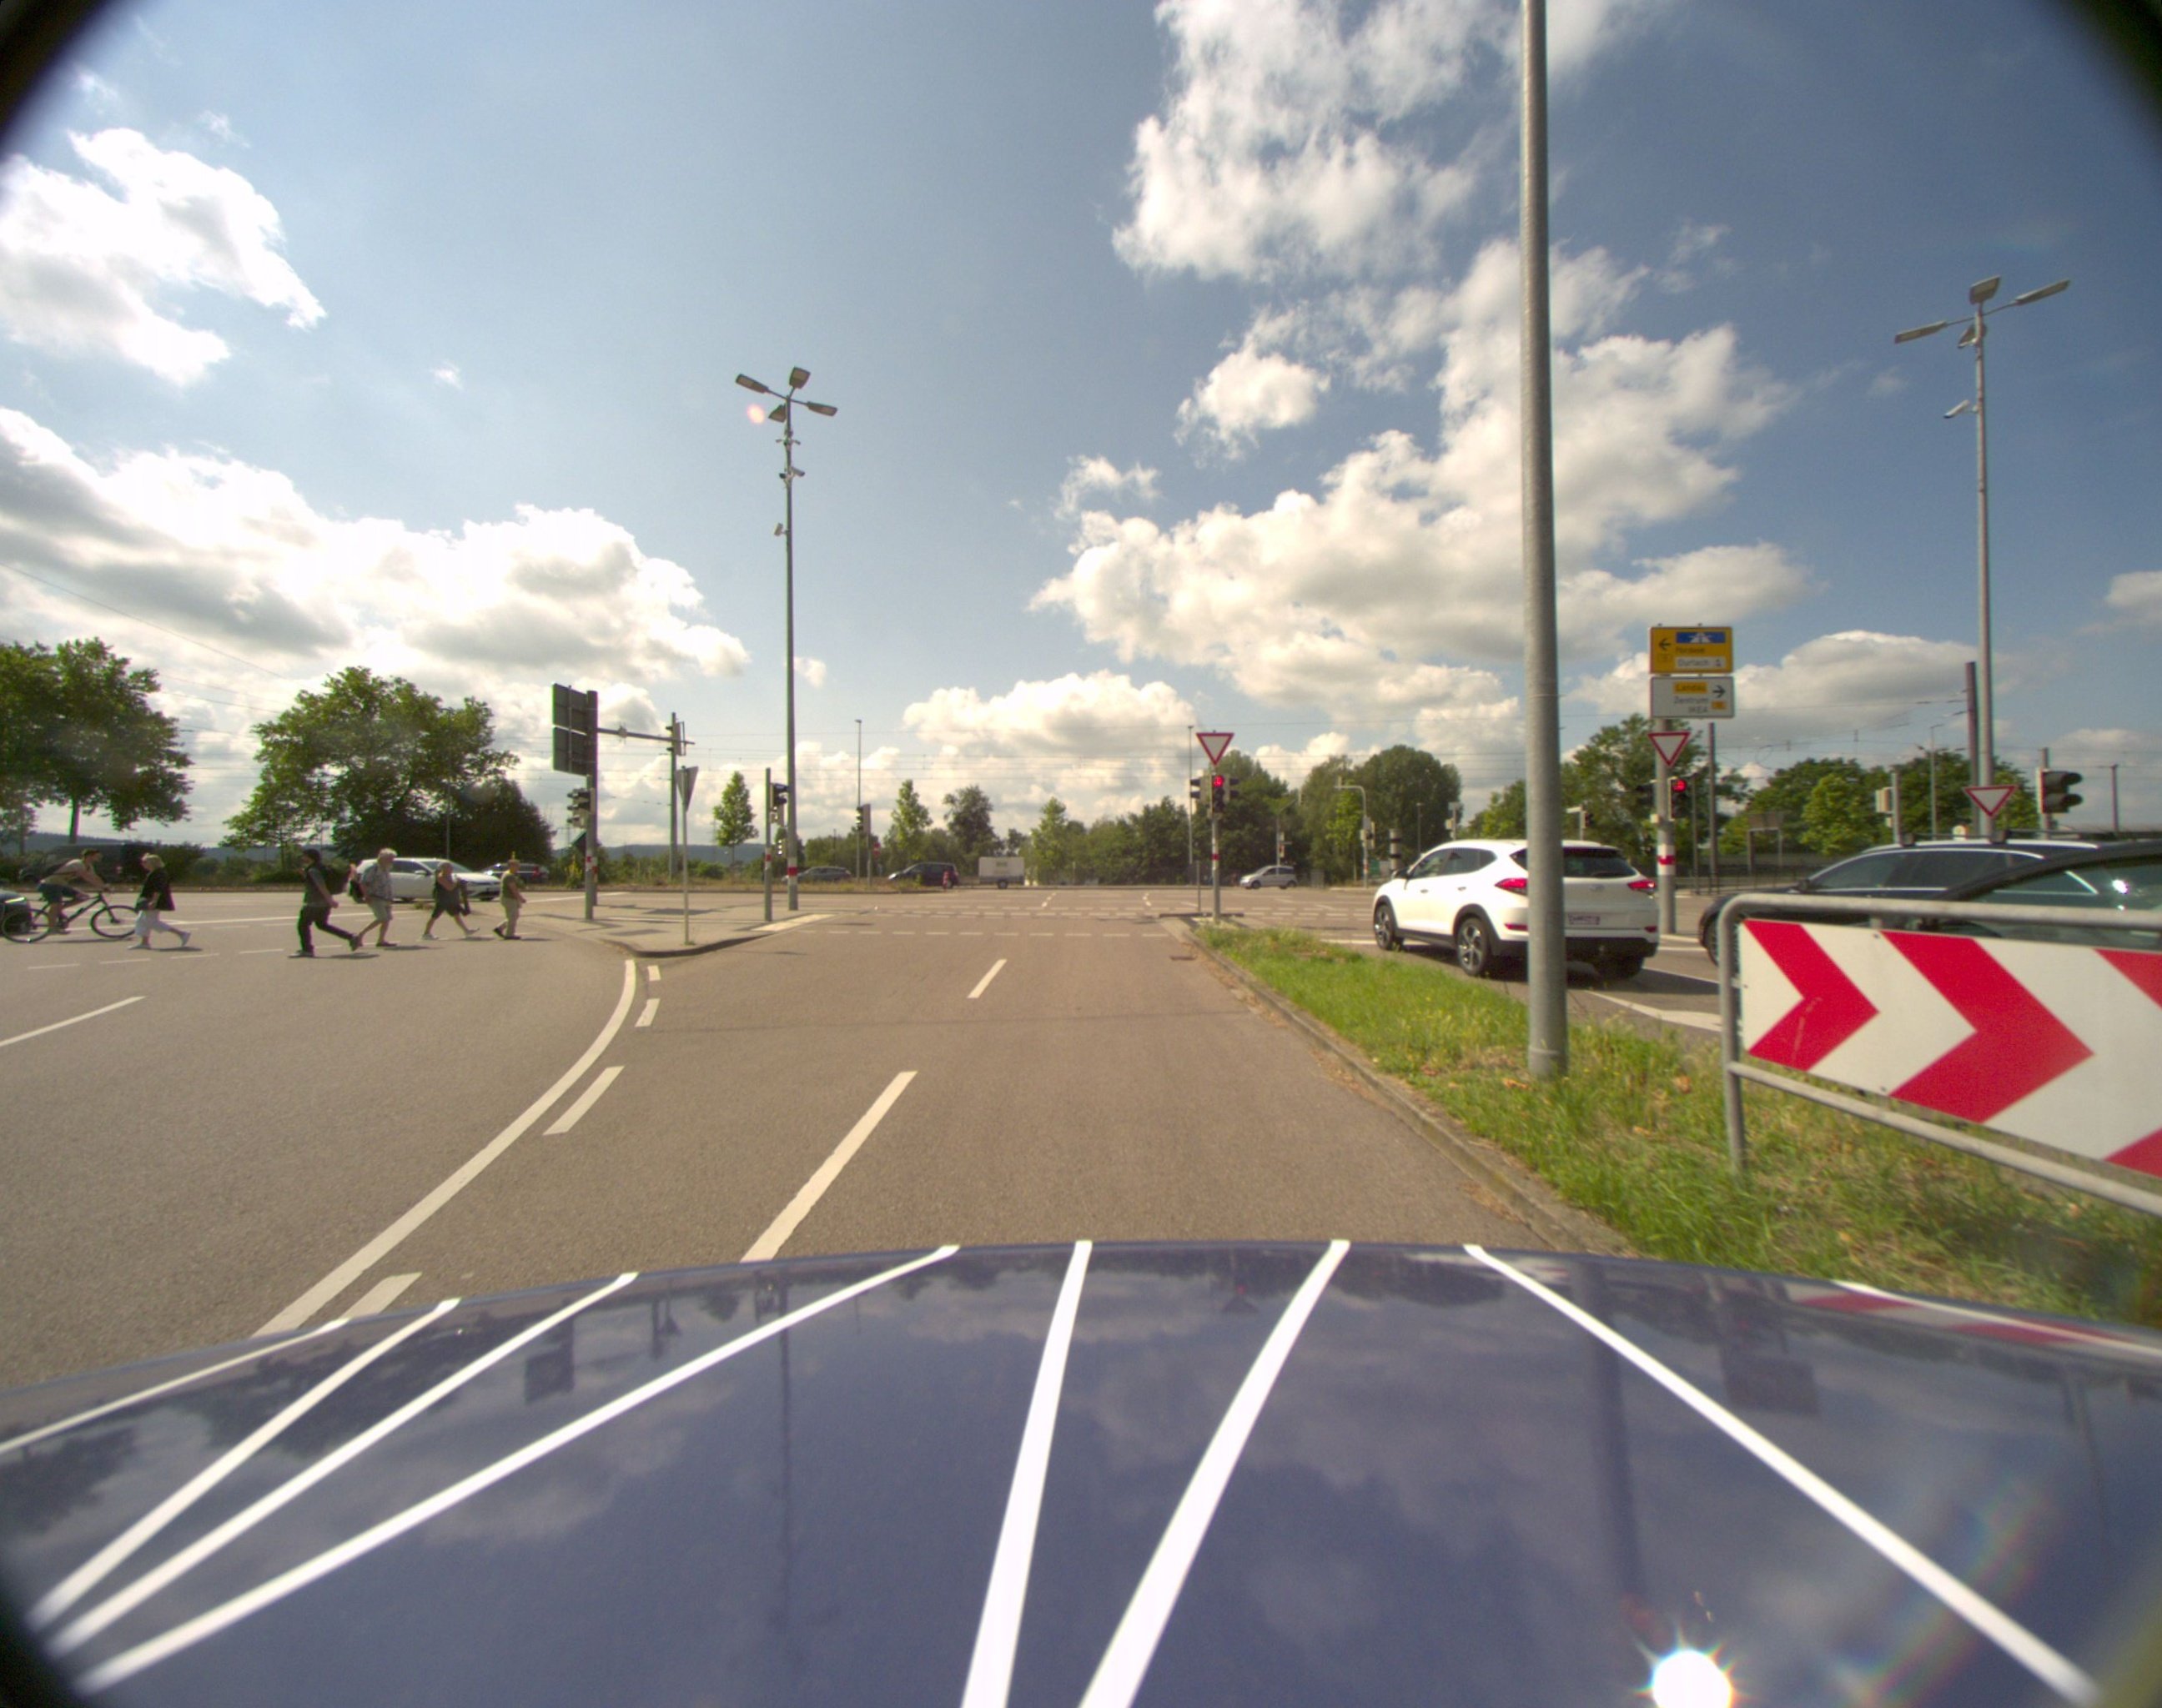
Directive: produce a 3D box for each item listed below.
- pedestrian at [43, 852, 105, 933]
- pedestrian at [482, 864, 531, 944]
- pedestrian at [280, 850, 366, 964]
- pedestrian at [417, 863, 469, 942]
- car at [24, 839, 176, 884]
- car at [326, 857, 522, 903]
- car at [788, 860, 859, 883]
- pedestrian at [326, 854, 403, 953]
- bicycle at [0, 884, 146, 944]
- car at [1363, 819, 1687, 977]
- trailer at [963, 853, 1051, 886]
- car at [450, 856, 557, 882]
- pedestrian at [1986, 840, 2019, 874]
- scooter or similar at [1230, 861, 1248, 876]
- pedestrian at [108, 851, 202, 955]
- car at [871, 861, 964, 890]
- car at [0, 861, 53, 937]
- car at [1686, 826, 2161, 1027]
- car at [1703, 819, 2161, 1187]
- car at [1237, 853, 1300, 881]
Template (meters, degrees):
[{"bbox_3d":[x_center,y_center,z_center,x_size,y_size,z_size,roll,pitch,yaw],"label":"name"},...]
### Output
[{"bbox_3d":[-19.452,0.730,14.692,0.505,1.527,0.687,-2,-1,41],"label":"pedestrian"},{"bbox_3d":[-11.027,0.949,14.598,0.556,1.515,0.470,-1,-1,10],"label":"pedestrian"},{"bbox_3d":[-12.439,0.848,12.479,0.820,1.792,0.761,-1,1,28],"label":"pedestrian"},{"bbox_3d":[-12.430,0.931,14.816,0.584,1.515,0.469,-1,1,10],"label":"pedestrian"},{"bbox_3d":[-57.498,0.475,44.651,5.675,2.588,1.992,0,-3,-7],"label":"car"},{"bbox_3d":[-21.095,0.799,24.557,4.494,1.404,2.014,0,0,-2],"label":"car"},{"bbox_3d":[-16.556,1.108,49.023,4.070,1.439,1.728,0,1,-9],"label":"car"},{"bbox_3d":[-12.775,0.859,13.565,0.688,1.718,0.701,0,1,12],"label":"pedestrian"},{"bbox_3d":[-19.441,1.138,14.685,0.506,1.041,1.699,-2,-1,41],"label":"bicycle"},{"bbox_3d":[5.421,0.434,10.088,1.712,1.610,4.377,1,1,0],"label":"car"},{"bbox_3d":[-4.487,0.920,46.161,5.182,1.820,1.824,-1,0,-7],"label":"trailer"},{"bbox_3d":[-34.939,0.937,46.118,4.782,1.499,1.966,0,-2,-9],"label":"car"},{"bbox_3d":[47.870,0.163,39.462,0.792,1.698,0.761,0,0,-4],"label":"pedestrian"},{"bbox_3d":[11.970,1.108,57.683,1.249,1.092,0.343,-2,-1,-2],"label":"scooter or similar"},{"bbox_3d":[-16.355,0.830,13.424,0.860,1.755,0.867,-1,1,28],"label":"pedestrian"},{"bbox_3d":[-9.713,1.290,45.490,5.251,1.564,1.999,-1,-1,-7],"label":"car"},{"bbox_3d":[-23.759,0.898,15.628,4.192,1.474,1.919,1,1,19],"label":"car"},{"bbox_3d":[8.956,0.562,8.108,1.774,1.606,3.999,1,1,0],"label":"car"},{"bbox_3d":[5.176,0.613,3.267,1.608,1.484,4.132,1,0,0],"label":"car"},{"bbox_3d":[11.927,0.819,48.456,3.490,1.448,1.700,-4,2,-4],"label":"car"}]
